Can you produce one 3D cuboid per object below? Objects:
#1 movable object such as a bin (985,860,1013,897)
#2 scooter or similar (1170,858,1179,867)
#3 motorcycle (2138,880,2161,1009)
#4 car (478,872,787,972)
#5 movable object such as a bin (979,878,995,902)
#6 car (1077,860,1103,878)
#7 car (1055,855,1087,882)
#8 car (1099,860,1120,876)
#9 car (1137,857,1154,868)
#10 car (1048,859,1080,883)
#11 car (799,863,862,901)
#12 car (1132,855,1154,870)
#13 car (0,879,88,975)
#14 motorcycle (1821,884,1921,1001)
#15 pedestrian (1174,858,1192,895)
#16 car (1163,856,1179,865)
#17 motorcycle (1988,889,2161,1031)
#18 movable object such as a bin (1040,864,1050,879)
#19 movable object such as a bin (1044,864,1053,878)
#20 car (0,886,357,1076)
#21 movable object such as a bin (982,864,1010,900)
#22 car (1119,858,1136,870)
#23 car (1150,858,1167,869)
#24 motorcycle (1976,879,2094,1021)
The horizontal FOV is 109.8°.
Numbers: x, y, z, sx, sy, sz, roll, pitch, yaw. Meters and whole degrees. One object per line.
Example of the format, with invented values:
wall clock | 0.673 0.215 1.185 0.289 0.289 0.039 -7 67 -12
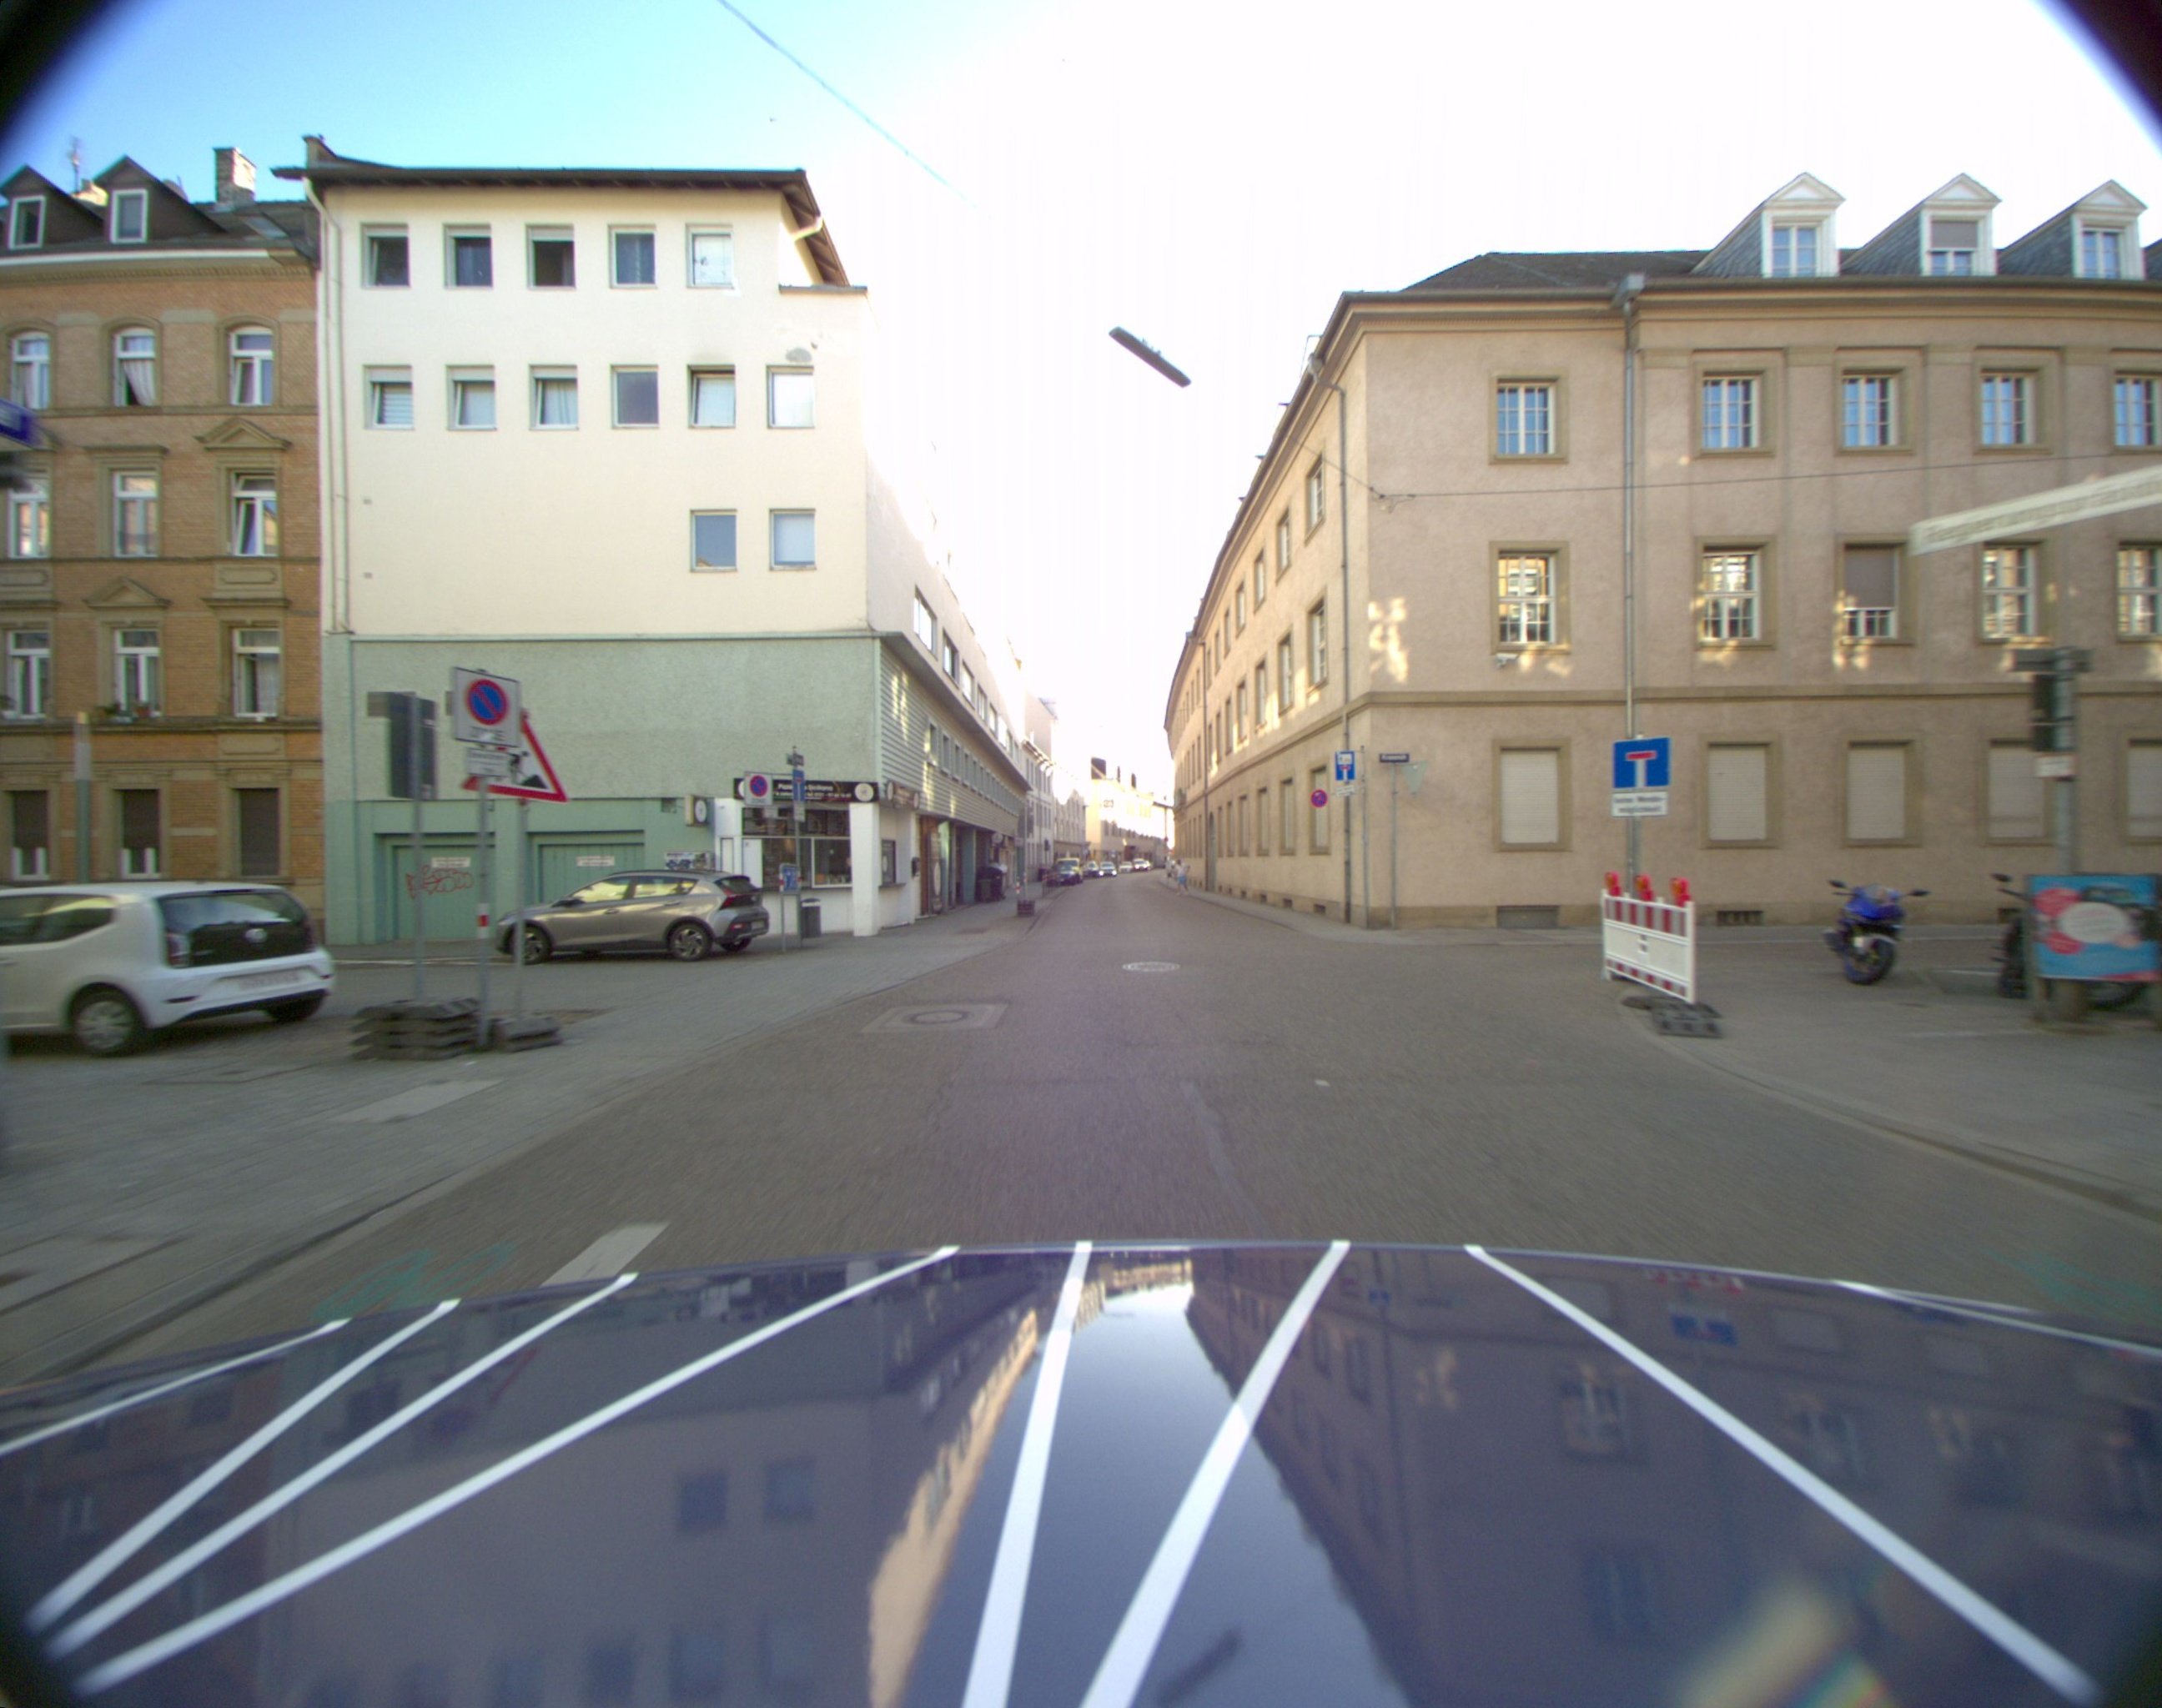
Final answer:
movable object such as a bin | -3.550 1.040 32.911 0.983 1.472 1.551 0 2 1
scooter or similar | 12.702 1.208 103.540 1.302 1.217 0.467 1 0 -40
motorcycle | 10.900 0.908 7.285 2.132 1.267 0.586 0 0 -44
car | -7.408 1.086 12.888 4.089 1.473 1.865 -1 0 -1
movable object such as a bin | -3.766 1.440 30.348 0.558 0.894 0.523 0 3 1
car | 0.913 1.400 72.729 1.828 1.645 4.496 -2 0 8
car | -0.715 1.023 56.314 1.887 1.871 4.847 -2 0 4
car | 3.047 1.419 79.912 1.829 1.550 3.989 -2 0 7
car | 9.821 1.289 115.275 1.774 1.574 3.861 -5 -1 16
car | -1.087 1.116 50.782 1.888 1.480 4.369 -2 0 2
car | -10.387 1.140 31.706 1.586 1.460 3.398 0 0 -1
car | 8.890 1.221 108.381 1.945 1.850 5.201 -5 -1 16
car | -19.463 1.223 12.501 4.178 1.474 1.674 -1 2 3
motorcycle | 9.277 0.978 8.994 0.586 1.166 2.288 -5 -3 42
pedestrian | 4.755 1.035 35.378 0.694 1.660 0.875 -3 1 3
car | 16.061 1.176 134.962 1.963 1.400 4.202 -3 0 19
motorcycle | 9.517 0.914 6.514 0.661 1.166 2.194 0 0 -43
movable object such as a bin | -2.756 1.338 58.458 0.607 1.045 0.708 4 1 3
movable object such as a bin | -2.532 1.355 59.242 0.628 1.045 0.708 4 1 -1
car | -9.325 1.079 7.056 3.554 1.473 1.709 0 0 0
movable object such as a bin | -3.478 1.145 31.275 0.983 1.377 1.320 0 2 1
car | 6.401 1.395 103.432 1.734 1.539 4.004 -2 0 11
car | 12.739 1.625 124.814 1.774 1.574 3.861 -5 -1 17
motorcycle | 10.122 0.931 8.118 2.205 1.286 0.586 0 0 -44
